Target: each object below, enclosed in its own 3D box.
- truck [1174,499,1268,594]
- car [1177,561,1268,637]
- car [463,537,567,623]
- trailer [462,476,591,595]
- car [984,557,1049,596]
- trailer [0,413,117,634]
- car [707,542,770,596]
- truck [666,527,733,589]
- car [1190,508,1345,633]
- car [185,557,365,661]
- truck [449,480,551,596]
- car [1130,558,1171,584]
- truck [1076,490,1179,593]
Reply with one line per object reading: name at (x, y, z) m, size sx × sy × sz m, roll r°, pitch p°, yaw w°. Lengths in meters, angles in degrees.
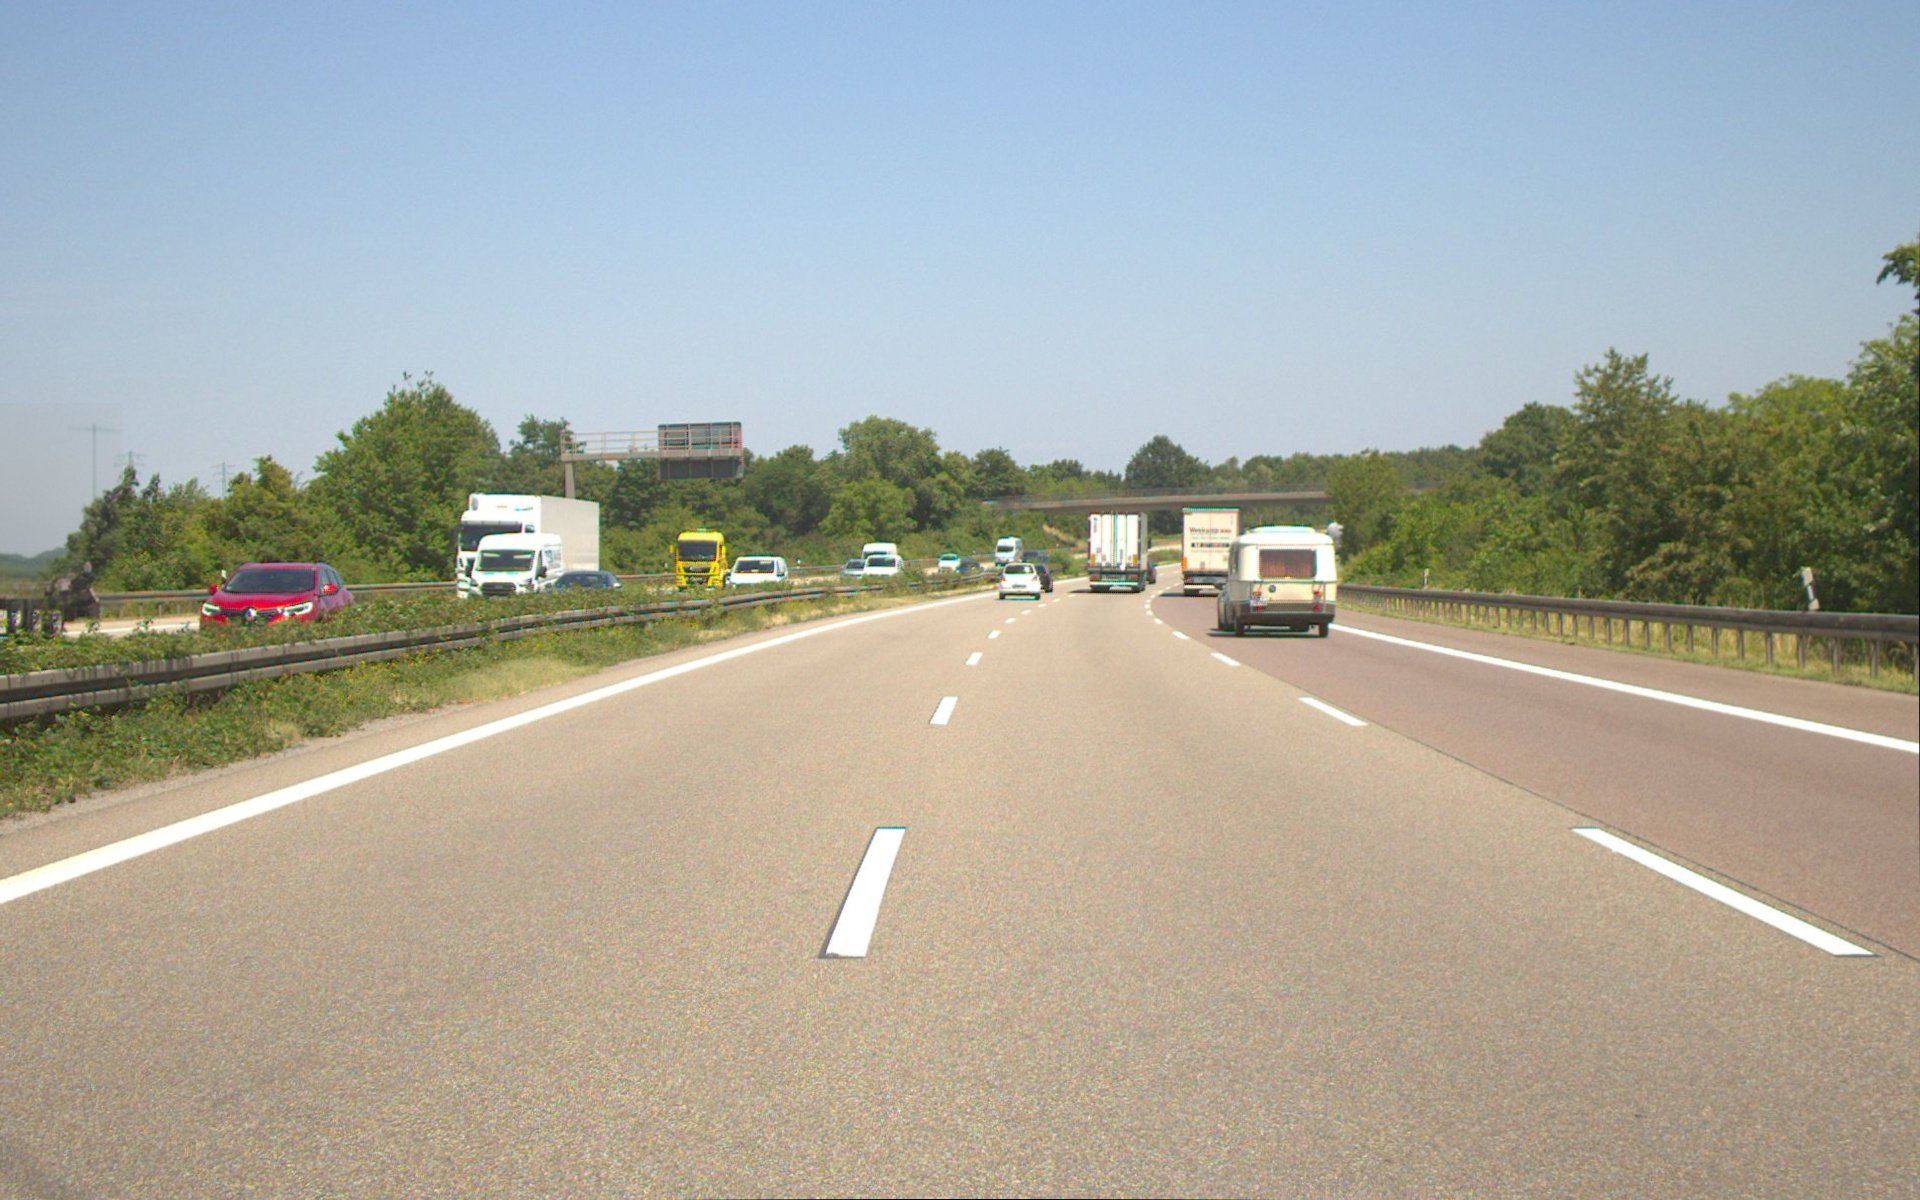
truck at (12.591, -2.678, 164.310) m, size 3.182 × 4.289 × 16.012 m, roll 0°, pitch 2°, yaw 9°
car at (5.747, -0.050, 75.711) m, size 1.887 × 1.510 × 5.379 m, roll 1°, pitch 1°, yaw 3°
car at (-13.183, -0.604, 102.218) m, size 1.994 × 2.462 × 6.490 m, roll 0°, pitch 1°, yaw 2°
trailer at (-16.254, -2.405, 129.852) m, size 2.835 × 4.243 × 13.637 m, roll 0°, pitch 1°, yaw 1°
car at (2.375, -0.990, 143.748) m, size 1.829 × 1.541 × 4.317 m, roll 1°, pitch 1°, yaw 13°
trailer at (-18.686, -1.424, 63.422) m, size 2.507 × 4.029 × 13.586 m, roll 0°, pitch 2°, yaw 2°
car at (-8.426, -1.200, 131.116) m, size 1.993 × 1.933 × 5.338 m, roll 0°, pitch 2°, yaw 1°
truck at (-13.402, -2.168, 177.588) m, size 2.521 × 3.141 × 9.667 m, roll 0°, pitch 1°, yaw 1°
car at (6.138, -0.639, 69.343) m, size 2.442 × 2.313 × 5.322 m, roll -1°, pitch 2°, yaw -2°
car at (-10.777, 0.105, 54.384) m, size 1.993 × 1.543 × 4.448 m, roll 0°, pitch 1°, yaw 0°
truck at (-16.414, -2.231, 123.000) m, size 2.830 × 4.067 × 5.166 m, roll 0°, pitch 1°, yaw 1°
car at (11.936, -1.845, 215.302) m, size 1.829 × 1.541 × 4.317 m, roll 1°, pitch 1°, yaw 13°
truck at (8.678, -3.093, 175.784) m, size 3.667 × 5.001 × 16.013 m, roll 0°, pitch 2°, yaw 9°
